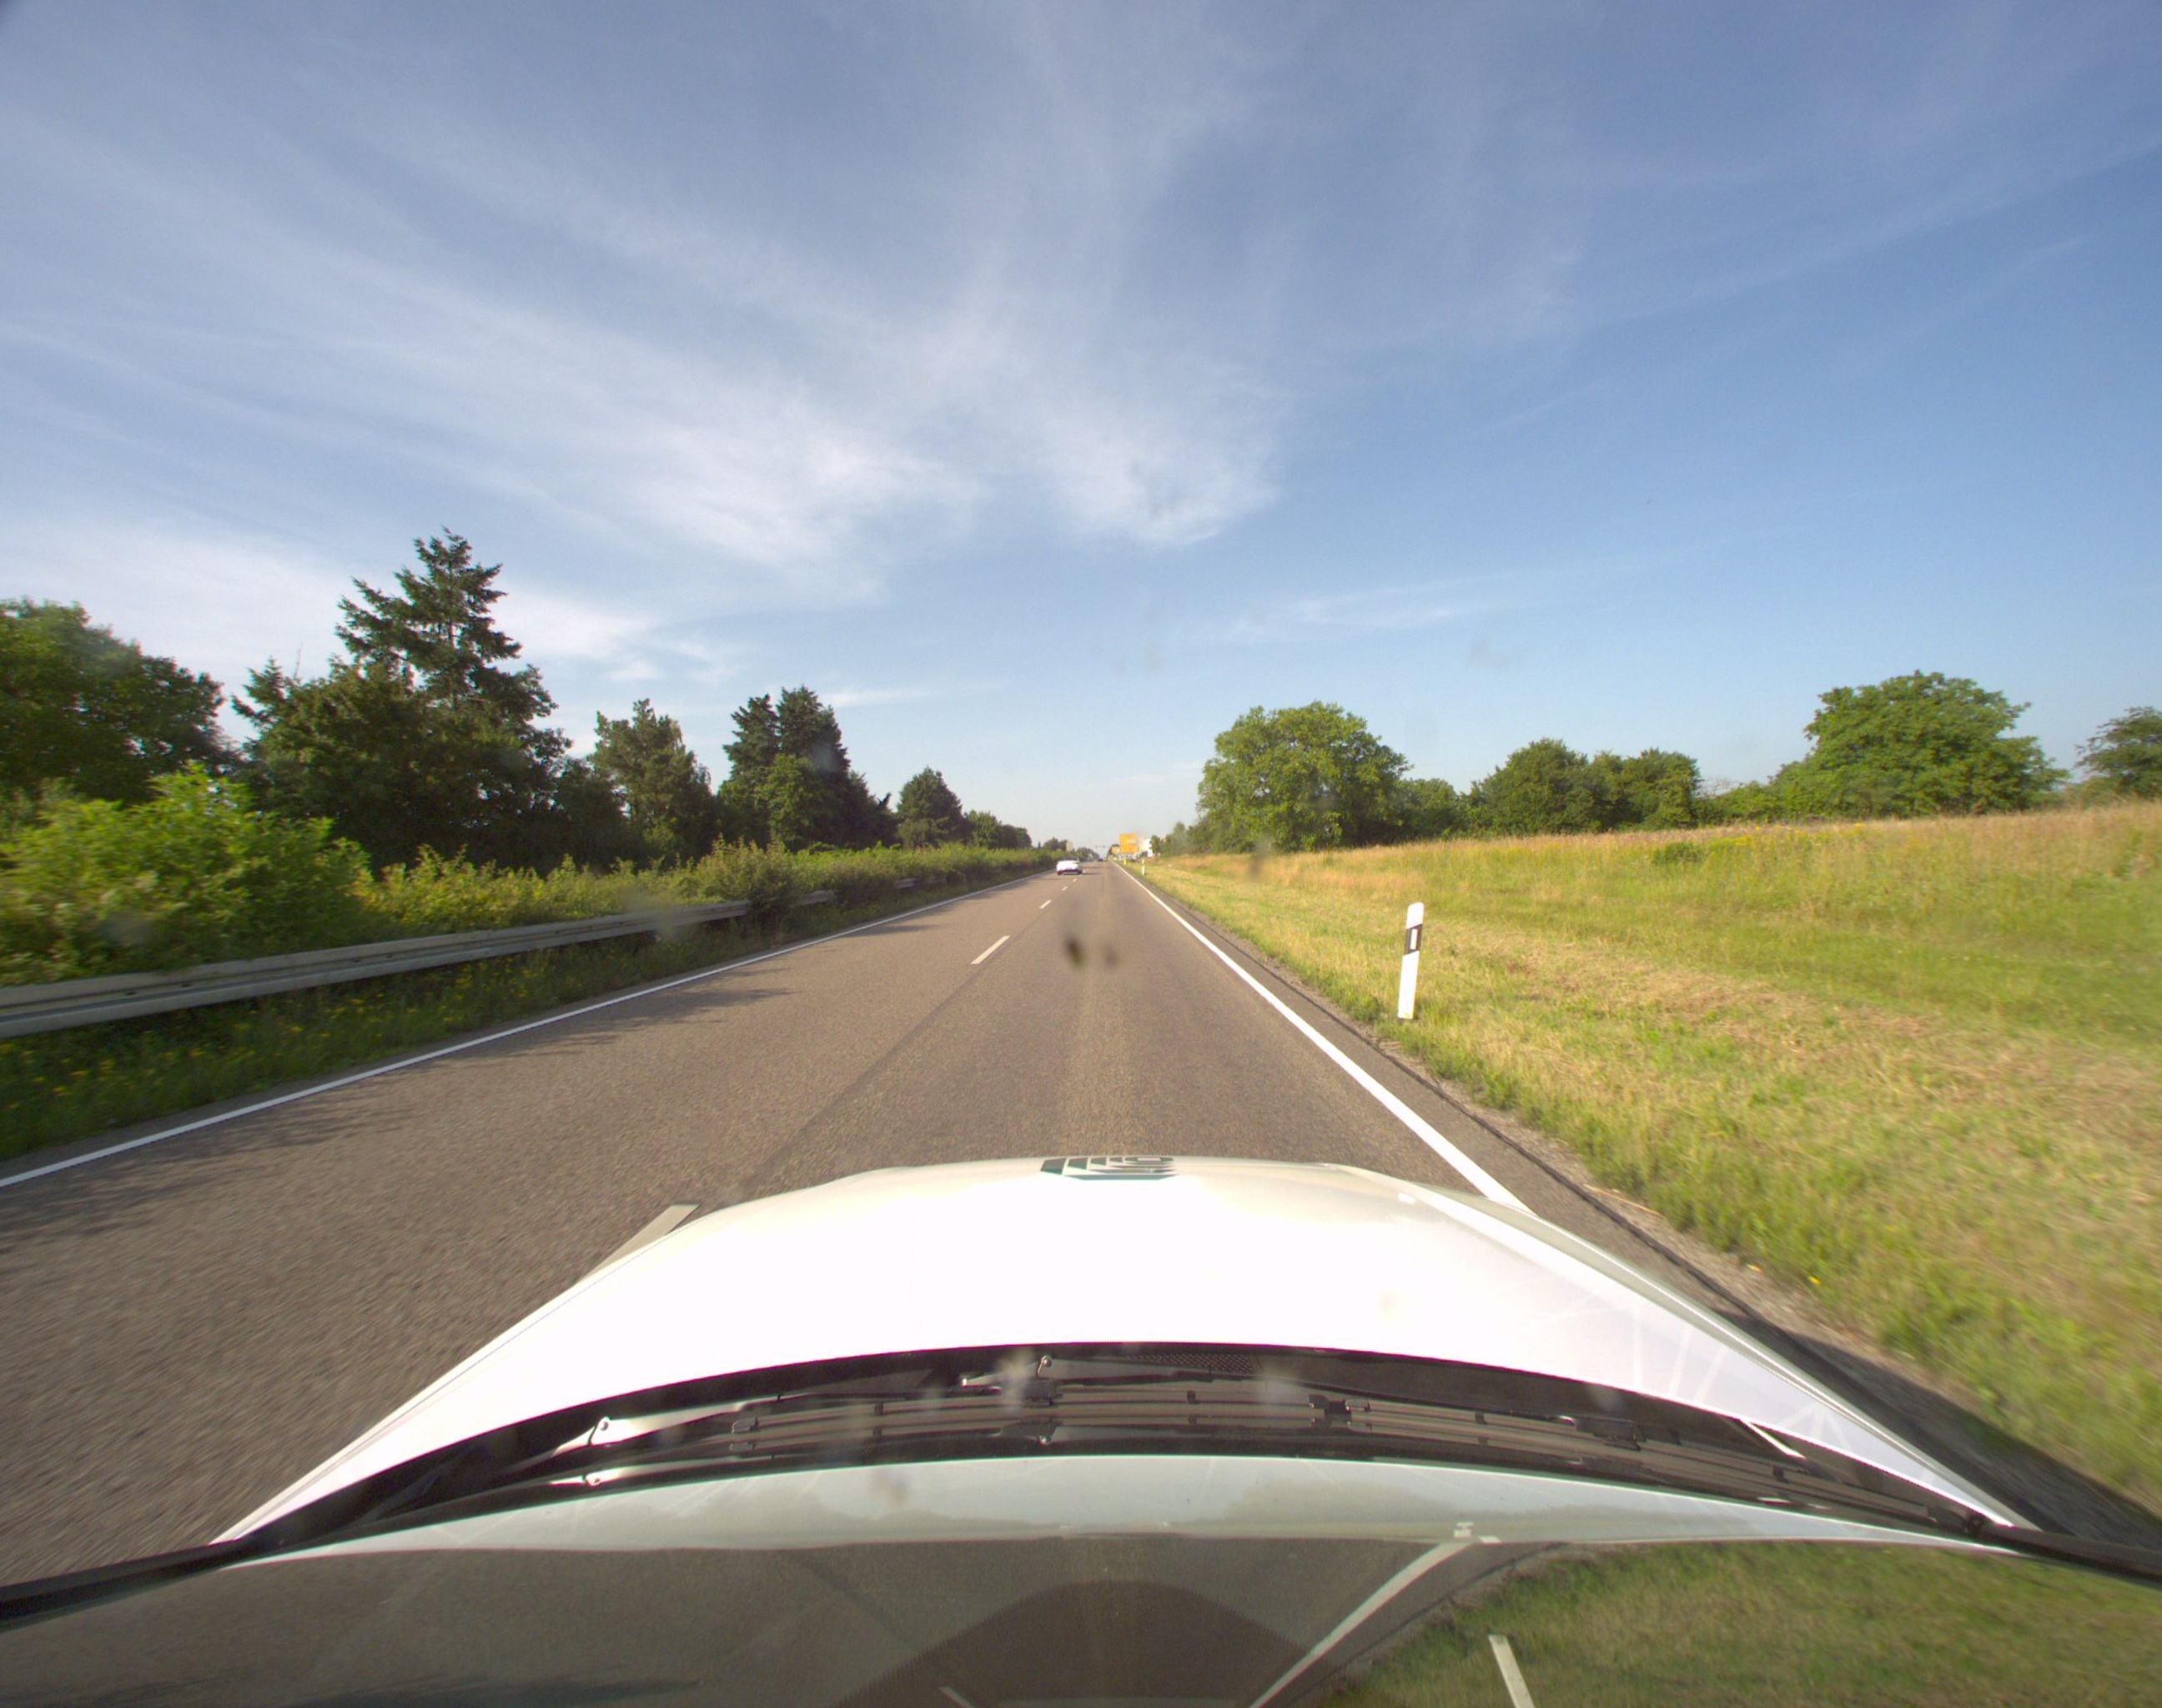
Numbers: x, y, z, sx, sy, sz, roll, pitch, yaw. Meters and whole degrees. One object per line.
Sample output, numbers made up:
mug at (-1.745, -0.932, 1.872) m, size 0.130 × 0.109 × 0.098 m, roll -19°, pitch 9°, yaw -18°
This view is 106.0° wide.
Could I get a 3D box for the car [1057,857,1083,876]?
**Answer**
car at (-0.817, 0.950, 63.765) m, size 1.903 × 1.422 × 4.001 m, roll -1°, pitch 0°, yaw 1°
